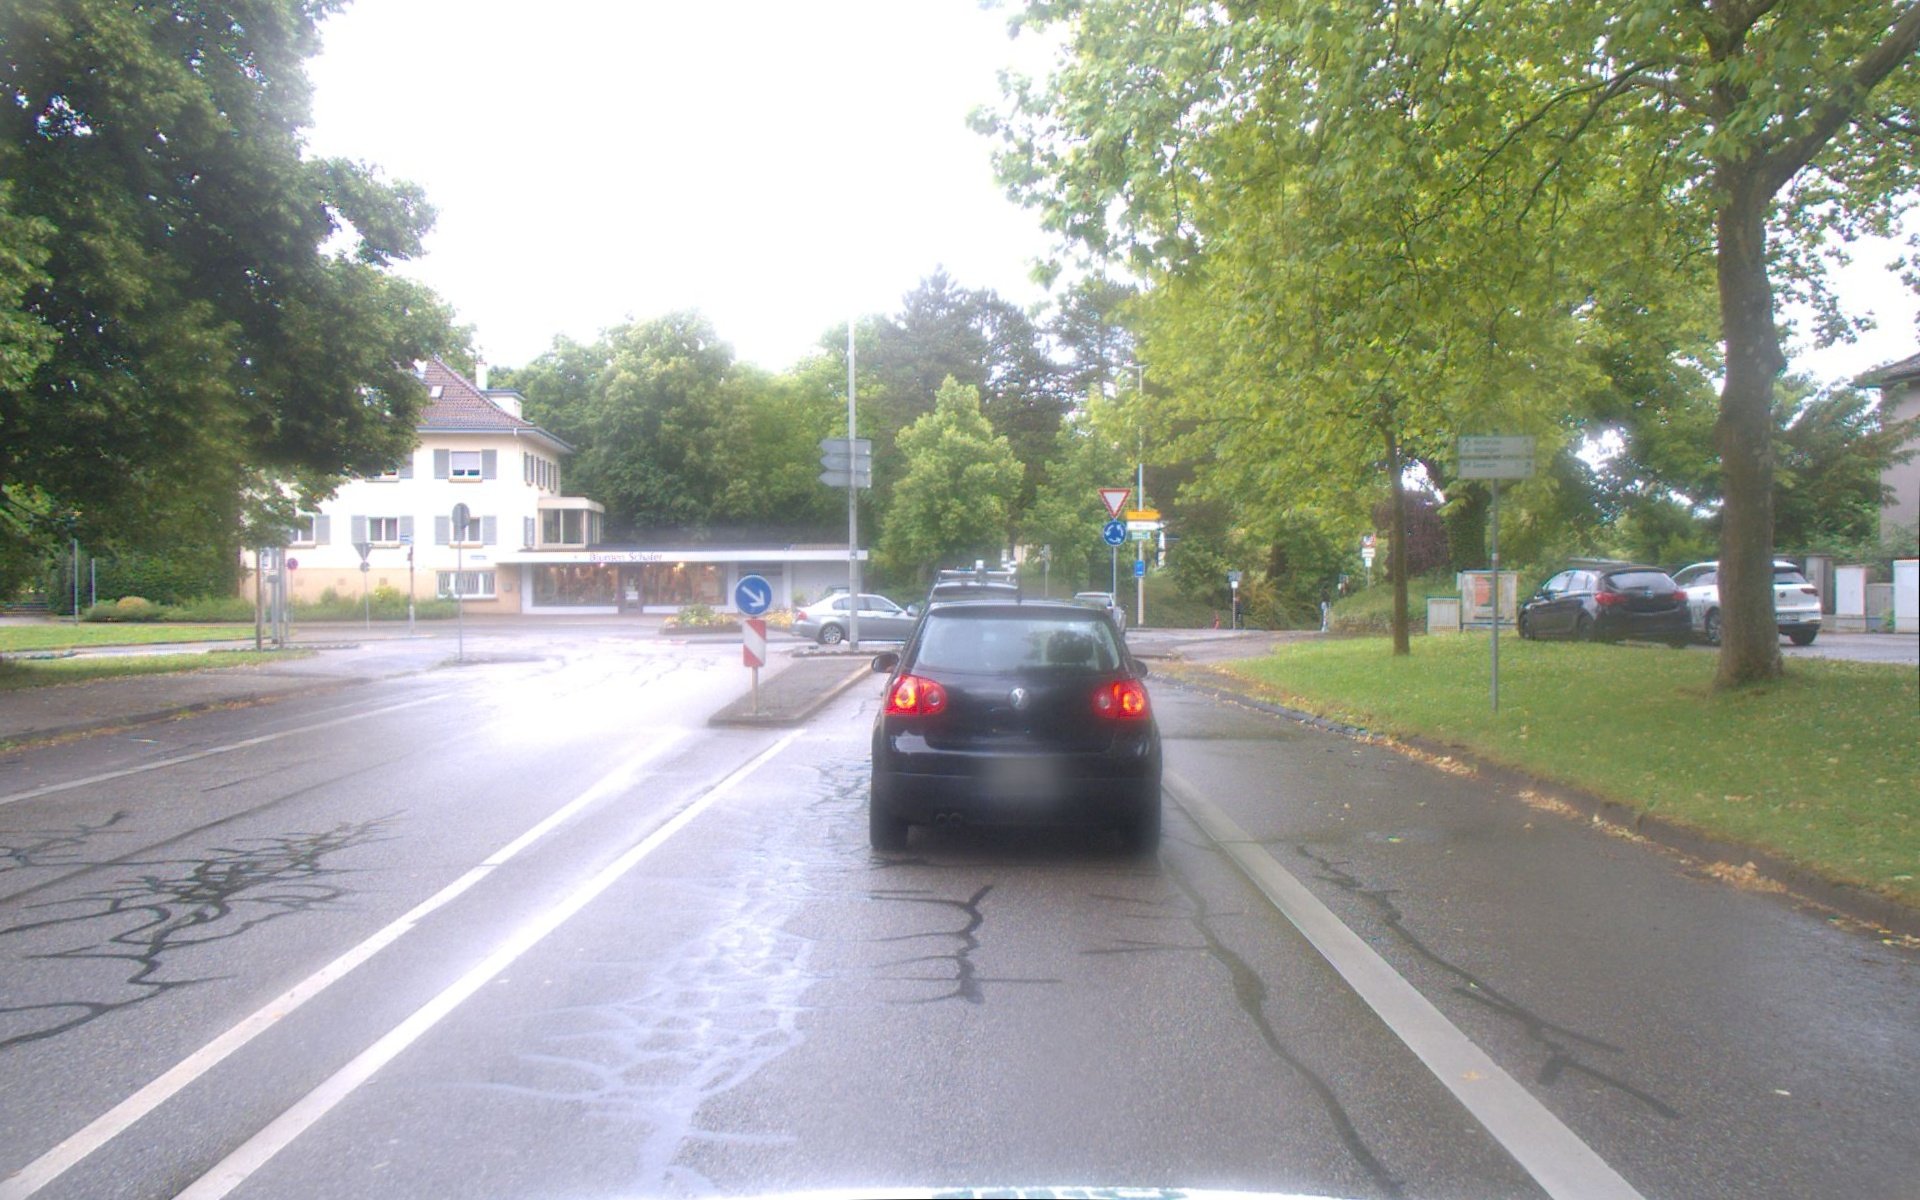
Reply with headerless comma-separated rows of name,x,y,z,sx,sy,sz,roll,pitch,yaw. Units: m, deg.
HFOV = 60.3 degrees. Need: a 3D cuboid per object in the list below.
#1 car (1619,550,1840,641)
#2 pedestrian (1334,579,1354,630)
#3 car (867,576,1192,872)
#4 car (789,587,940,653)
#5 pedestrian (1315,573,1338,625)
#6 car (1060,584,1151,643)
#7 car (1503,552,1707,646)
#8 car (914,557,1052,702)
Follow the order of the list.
car,13.979,-0.069,30.352,1.808,1.497,4.423,-2,0,-3
pedestrian,13.128,0.146,56.594,0.620,1.743,0.530,1,-1,16
car,0.380,0.660,10.930,1.728,1.565,4.000,1,0,0
car,-2.652,0.557,45.500,3.947,1.713,1.995,1,0,-11
pedestrian,12.408,-0.030,56.026,0.519,1.743,0.633,1,-1,-15
car,4.652,0.431,52.423,1.952,1.772,4.145,1,0,19
car,11.578,-0.013,30.029,1.729,1.496,4.596,-2,0,-2
car,0.238,0.384,23.497,1.729,1.833,4.244,-1,0,-2
